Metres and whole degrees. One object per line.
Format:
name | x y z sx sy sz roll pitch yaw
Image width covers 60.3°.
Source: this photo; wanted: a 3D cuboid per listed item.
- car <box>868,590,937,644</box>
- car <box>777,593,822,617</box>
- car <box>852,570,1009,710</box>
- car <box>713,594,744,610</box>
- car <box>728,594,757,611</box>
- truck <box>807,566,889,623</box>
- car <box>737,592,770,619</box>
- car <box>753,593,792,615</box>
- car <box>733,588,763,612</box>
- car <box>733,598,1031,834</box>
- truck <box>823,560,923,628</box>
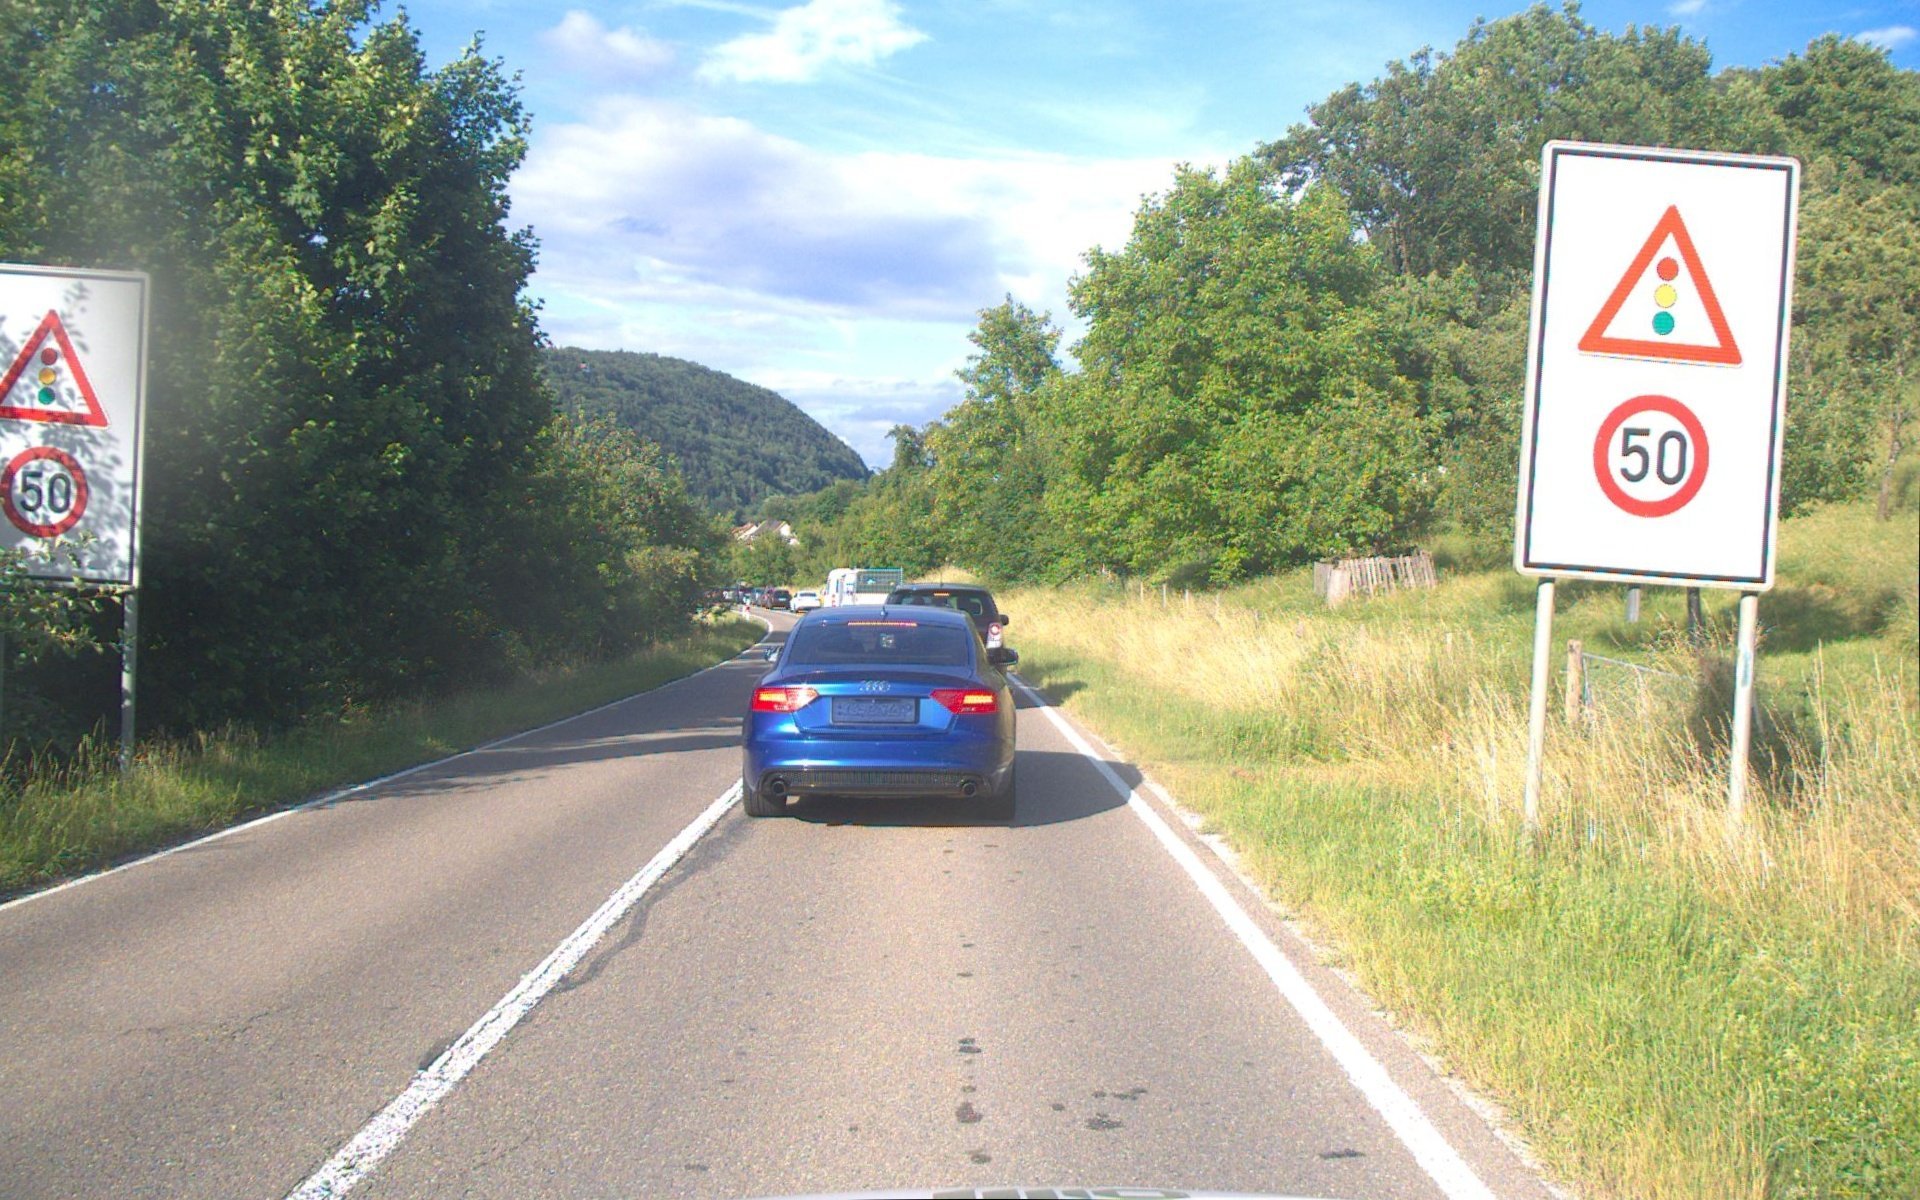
car | -1.670 0.489 49.377 1.953 1.508 3.999 1 0 -1
car | -10.741 0.315 110.364 1.965 1.508 3.975 1 0 -21
car | -0.401 0.515 22.817 1.953 1.732 3.999 1 0 -1
car | -21.885 0.188 156.235 1.967 1.508 3.971 1 0 -23
car | -19.465 0.216 147.837 1.962 1.508 3.981 1 0 -17
truck | -5.974 -0.290 86.383 2.813 2.712 10.614 1 0 -12
car | -16.436 0.427 131.424 1.962 2.049 3.981 1 0 -17
car | -13.887 0.294 122.468 1.965 1.508 3.975 1 0 -21
car | -17.984 0.006 139.903 1.961 2.049 3.983 1 0 -15
car | -0.466 0.700 11.847 1.757 1.383 4.000 1 0 0
truck | -3.938 -0.265 72.291 2.813 2.712 10.363 1 0 -12
